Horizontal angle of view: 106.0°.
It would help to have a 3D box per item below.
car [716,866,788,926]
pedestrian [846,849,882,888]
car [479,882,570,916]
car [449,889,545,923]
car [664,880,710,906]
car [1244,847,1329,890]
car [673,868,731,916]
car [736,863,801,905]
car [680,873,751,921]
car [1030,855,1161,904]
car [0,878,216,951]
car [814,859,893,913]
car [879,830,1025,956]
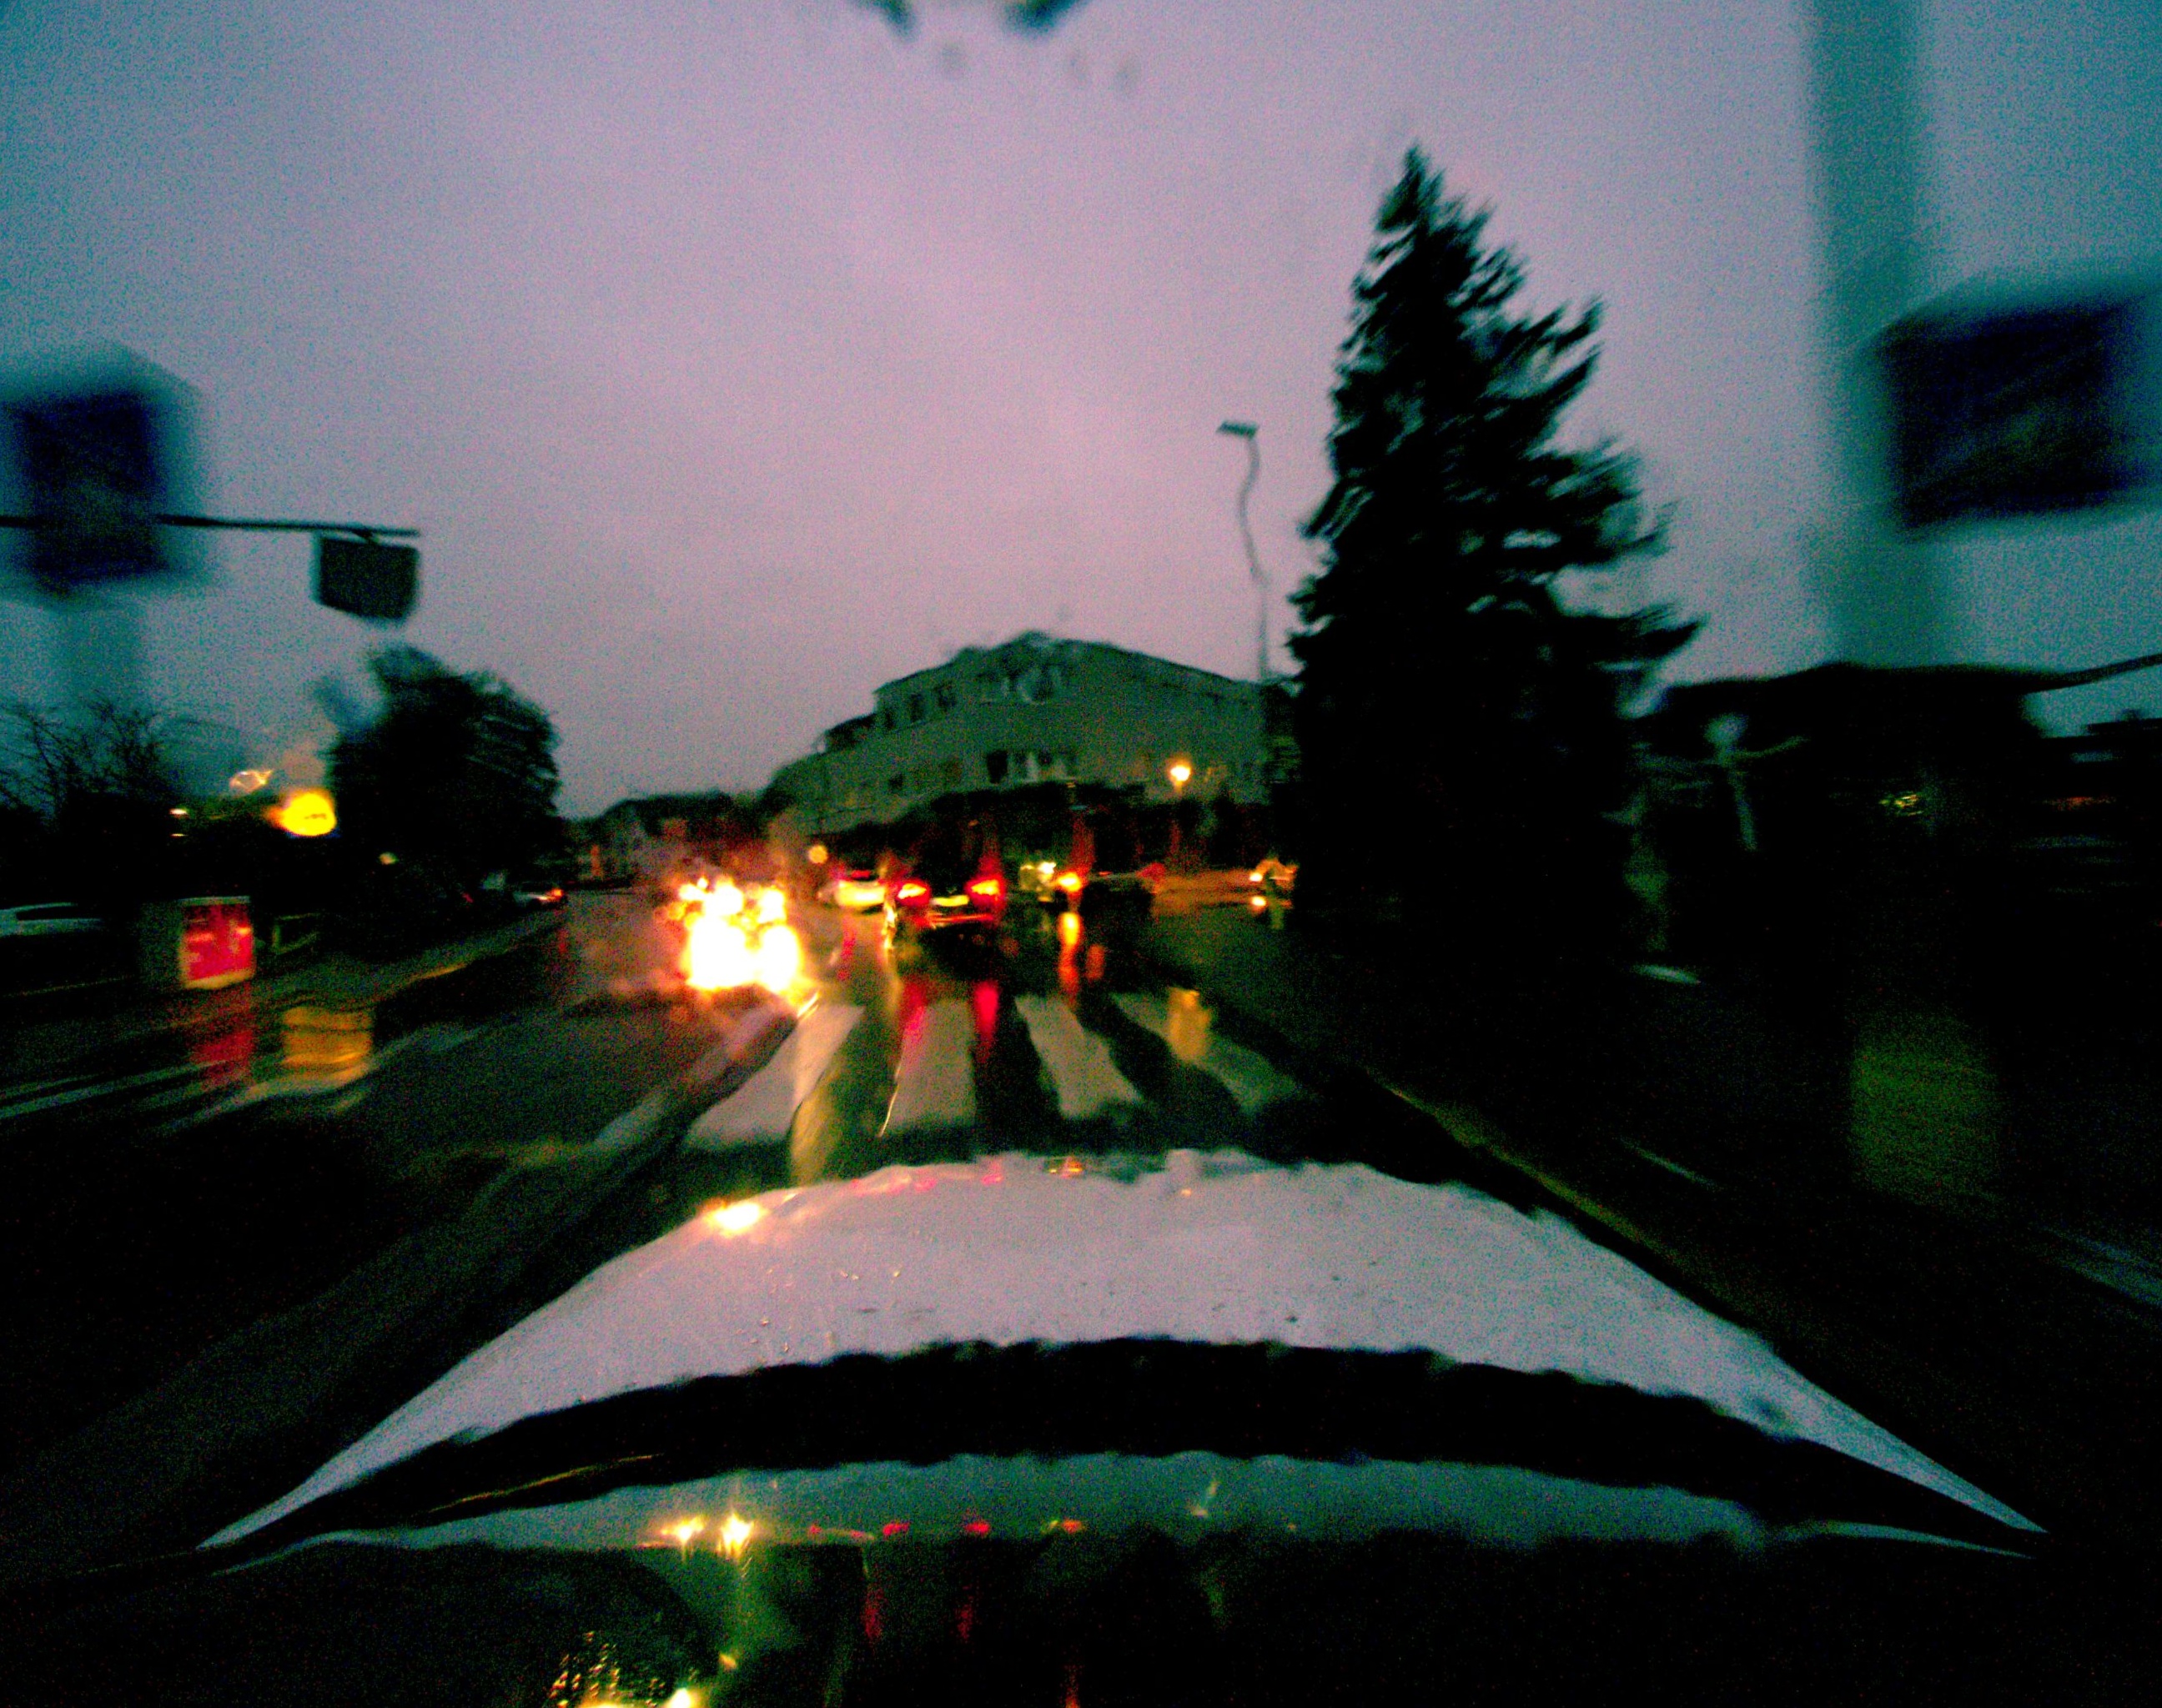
[{"bbox_3d":[-9.657,1.159,23.758,1.671,1.486,3.966,-3,0,-25],"label":"car"},{"bbox_3d":[-11.251,0.740,42.160,1.265,1.865,1.289,-6,2,-36],"label":"pedestrian"},{"bbox_3d":[-34.079,2.702,49.999,4.439,1.671,1.948,-3,1,-33],"label":"car"},{"bbox_3d":[-33.213,2.909,46.378,4.263,1.699,1.877,0,-2,-42],"label":"car"},{"bbox_3d":[-24.294,2.372,50.152,1.857,1.331,3.894,-5,1,-36],"label":"car"},{"bbox_3d":[9.187,0.644,36.208,2.021,1.788,4.156,-3,-2,40],"label":"car"},{"bbox_3d":[-15.623,1.506,33.425,1.782,1.723,4.380,-3,0,-29],"label":"car"},{"bbox_3d":[-16.999,1.618,44.124,2.325,1.938,4.967,-4,0,-31],"label":"car"},{"bbox_3d":[-13.255,1.496,29.405,1.783,1.495,4.002,-3,0,-31],"label":"car"},{"bbox_3d":[0.541,0.800,26.993,4.205,1.441,1.777,-1,0,-40],"label":"car"},{"bbox_3d":[-29.312,1.758,24.224,2.007,1.711,4.815,-3,1,44],"label":"car"},{"bbox_3d":[-7.969,1.058,28.329,1.868,1.647,3.965,-3,0,-27],"label":"car"},{"bbox_3d":[-2.752,0.666,16.191,2.313,1.938,4.994,-4,0,-14],"label":"car"}]
